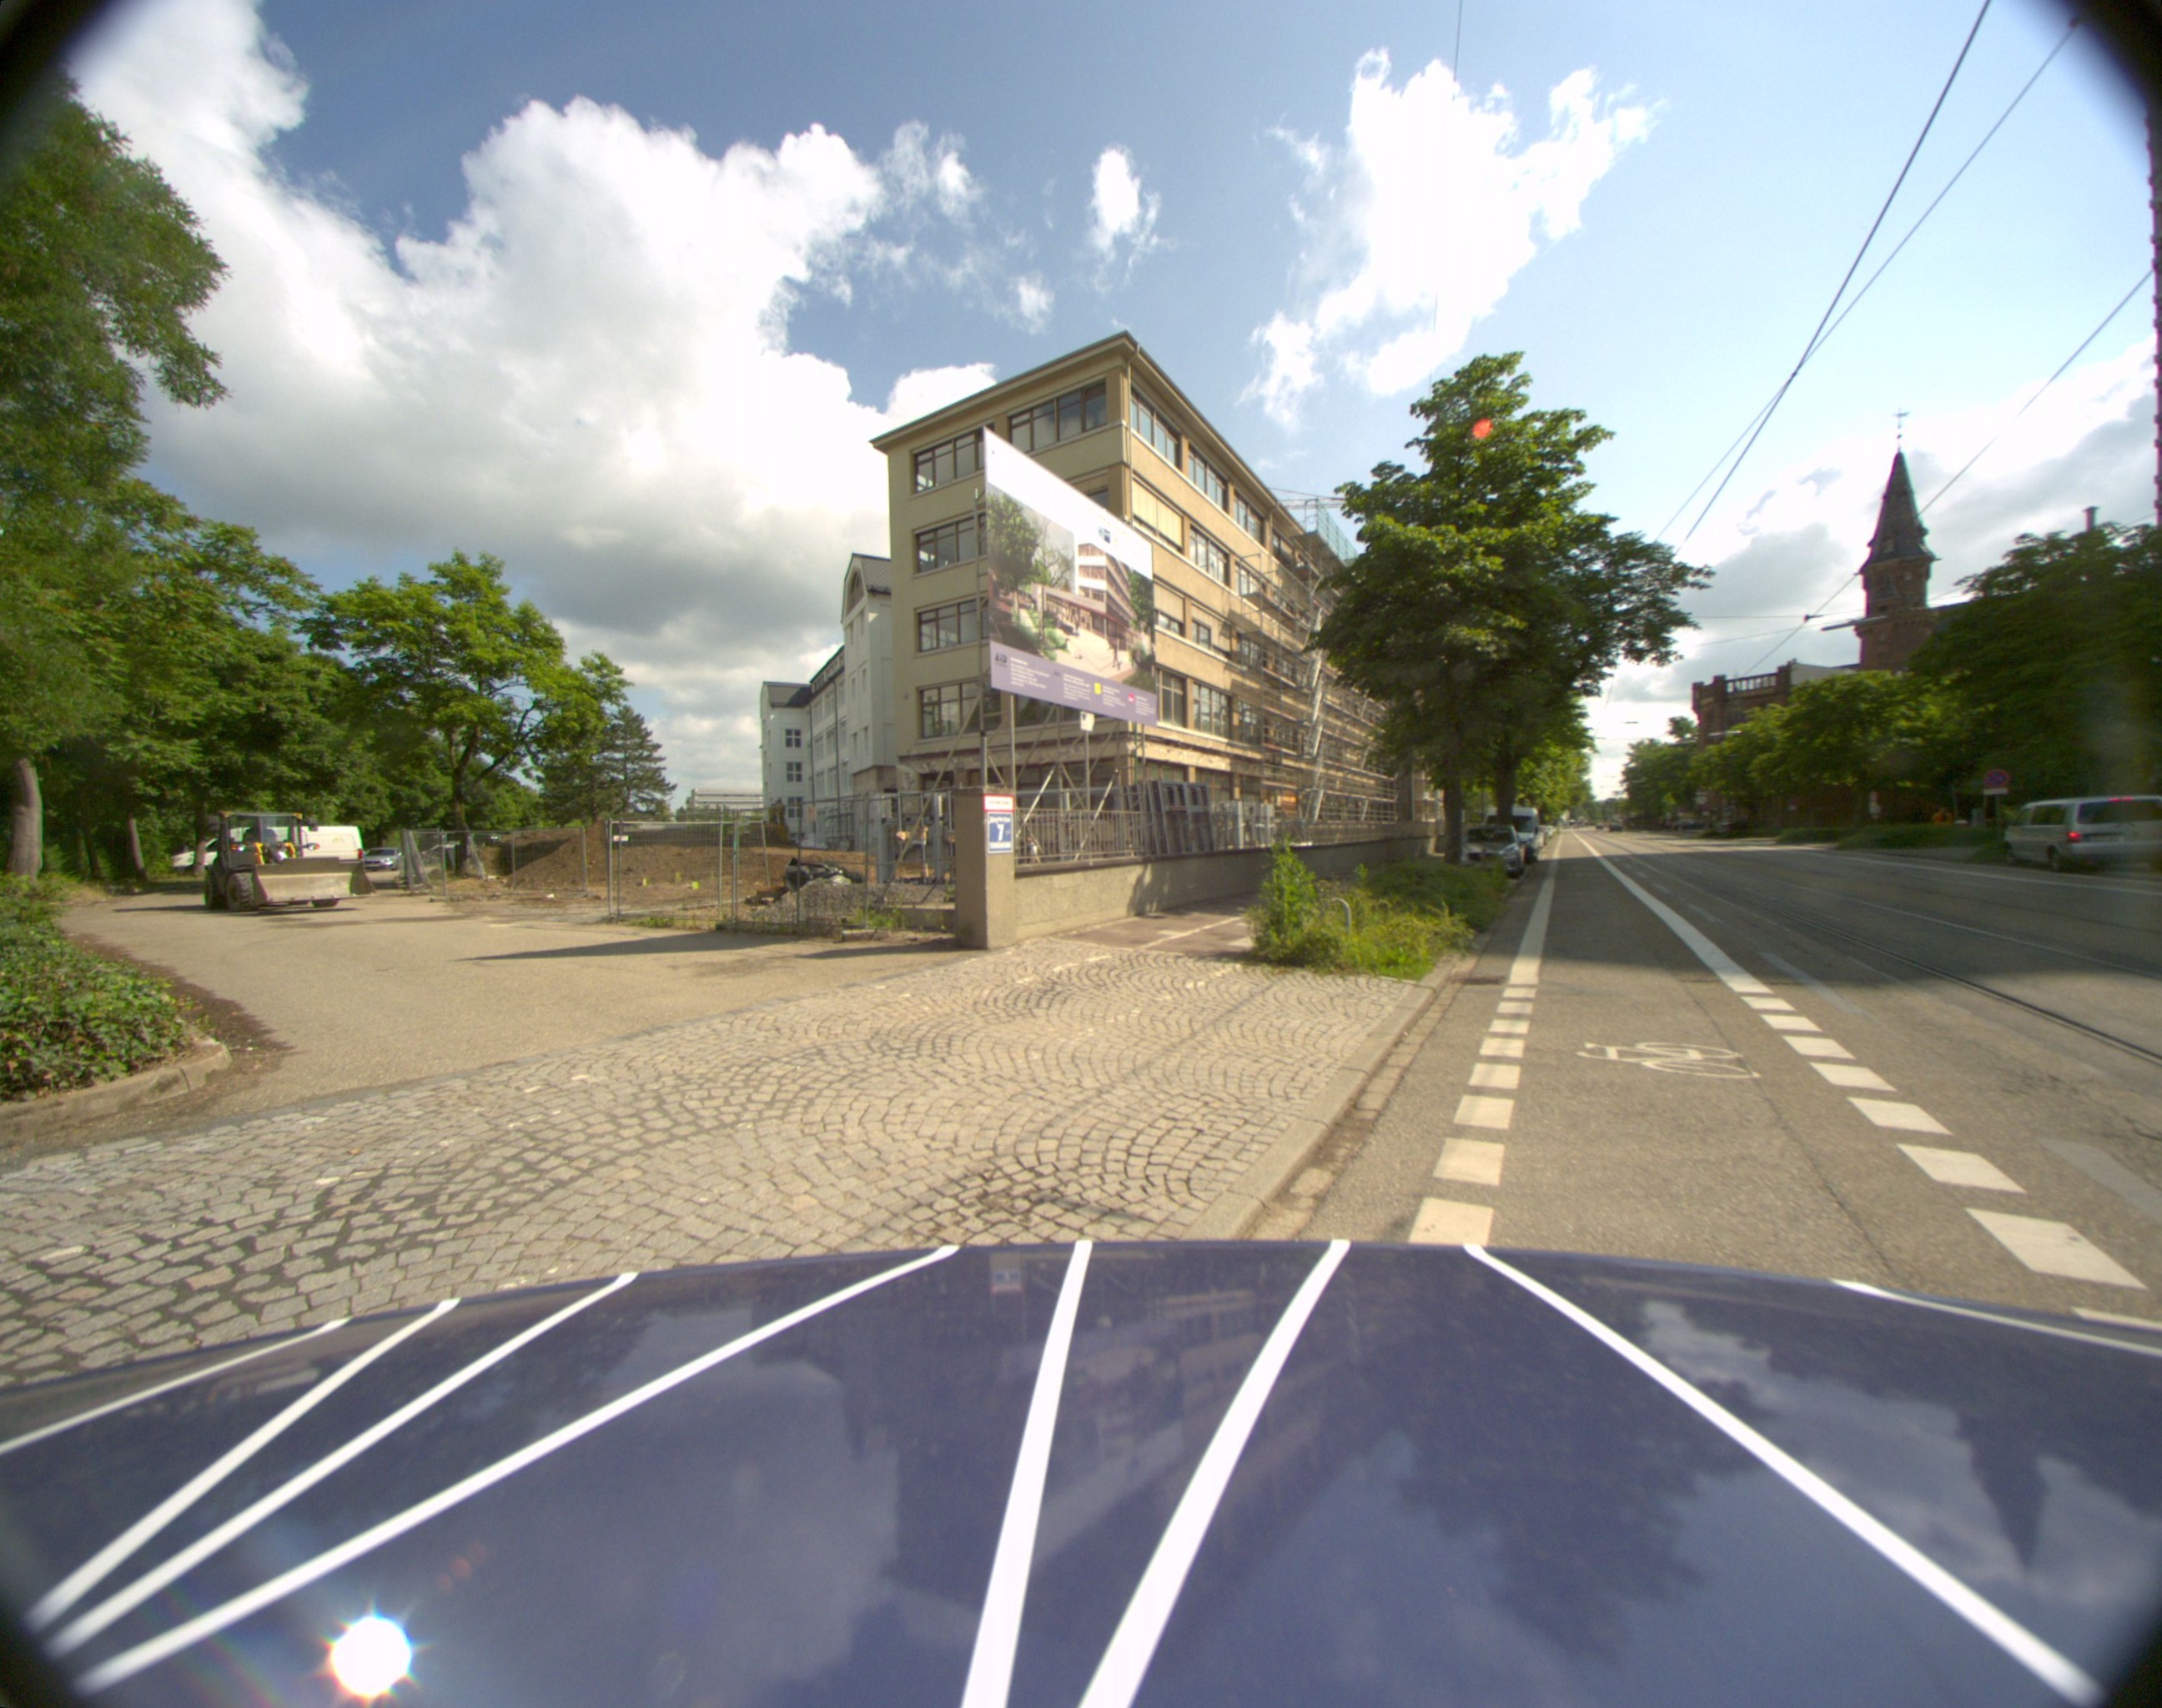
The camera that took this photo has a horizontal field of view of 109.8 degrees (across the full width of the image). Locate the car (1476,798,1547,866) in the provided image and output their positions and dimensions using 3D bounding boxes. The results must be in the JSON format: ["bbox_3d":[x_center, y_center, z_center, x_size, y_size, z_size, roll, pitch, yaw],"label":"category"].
[{"bbox_3d":[18.620,-0.974,32.727,2.333,2.545,5.399,-3,1,32],"label":"car"}]

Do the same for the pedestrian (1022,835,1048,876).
[{"bbox_3d":[-1.527,0.065,25.157,0.463,1.306,0.633,-7,4,-43],"label":"pedestrian"}]

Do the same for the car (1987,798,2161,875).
[{"bbox_3d":[27.158,-0.515,20.794,1.888,1.841,4.243,-3,1,34],"label":"car"}]

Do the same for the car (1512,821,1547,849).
[{"bbox_3d":[29.203,-1.278,49.422,1.747,1.597,4.243,-3,1,32],"label":"car"}]

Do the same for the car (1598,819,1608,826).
[{"bbox_3d":[138.880,-8.388,202.210,1.888,1.635,4.243,-1,2,31],"label":"car"}]

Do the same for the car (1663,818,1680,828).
[{"bbox_3d":[90.323,-4.758,116.200,1.625,1.566,3.958,4,5,33],"label":"car"}]

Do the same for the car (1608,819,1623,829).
[{"bbox_3d":[94.270,-5.322,133.958,1.888,1.635,4.243,-1,2,31],"label":"car"}]

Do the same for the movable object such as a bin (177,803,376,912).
[{"bbox_3d":[-20.231,0.012,19.068,5.418,2.430,2.004,2,1,27],"label":"movable object such as a bin"}]

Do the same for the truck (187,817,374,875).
[{"bbox_3d":[-41.900,-0.519,40.118,6.570,2.763,1.993,-2,5,-44],"label":"truck"}]

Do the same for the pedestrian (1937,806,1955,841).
[{"bbox_3d":[44.509,-1.551,39.095,0.462,1.745,0.534,-3,4,26],"label":"pedestrian"}]

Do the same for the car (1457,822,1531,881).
[{"bbox_3d":[13.045,-0.129,23.884,1.747,1.597,4.243,-3,1,32],"label":"car"}]

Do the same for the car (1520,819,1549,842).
[{"bbox_3d":[34.820,-1.818,58.314,1.747,1.597,4.243,-3,1,32],"label":"car"}]
